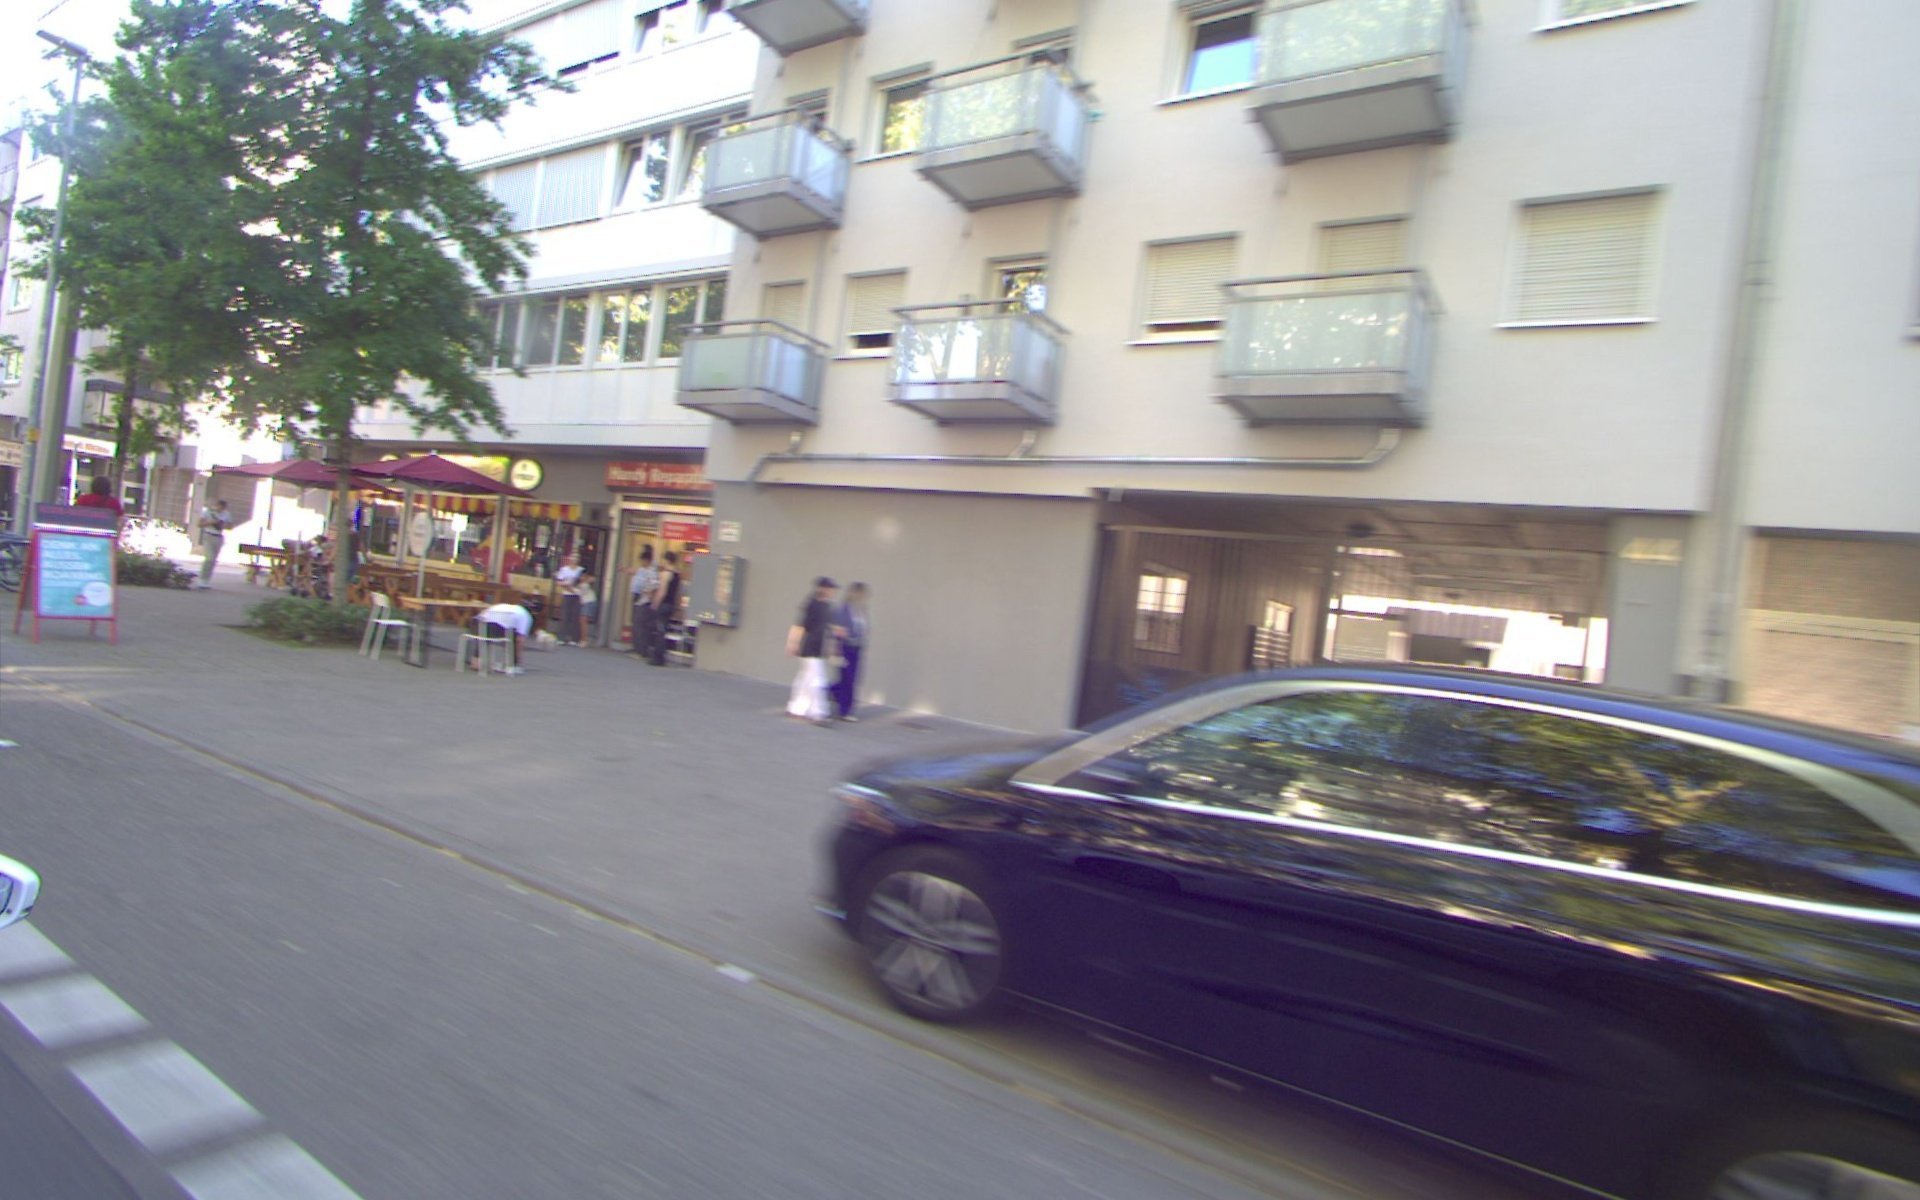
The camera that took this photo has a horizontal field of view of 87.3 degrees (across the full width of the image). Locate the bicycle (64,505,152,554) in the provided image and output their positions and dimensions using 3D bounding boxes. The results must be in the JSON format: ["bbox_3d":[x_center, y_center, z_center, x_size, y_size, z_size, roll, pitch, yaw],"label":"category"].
[{"bbox_3d":[-26.198,-2.140,30.954,0.502,1.222,1.917,8,0,30],"label":"bicycle"}]

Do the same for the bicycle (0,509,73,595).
[{"bbox_3d":[-13.411,-0.719,13.723,0.517,1.113,1.817,7,-1,32],"label":"bicycle"}]

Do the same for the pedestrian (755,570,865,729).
[{"bbox_3d":[-1.695,0.547,11.382,0.855,1.659,0.642,7,2,32],"label":"pedestrian"}]

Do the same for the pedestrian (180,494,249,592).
[{"bbox_3d":[-14.658,-1.122,19.772,0.979,1.805,0.591,7,-1,32],"label":"pedestrian"}]

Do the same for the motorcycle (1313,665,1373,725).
[{"bbox_3d":[7.969,1.982,20.870,0.705,1.089,2.415,7,-2,30],"label":"motorcycle"}]

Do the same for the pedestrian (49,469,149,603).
[{"bbox_3d":[-12.581,-0.921,14.742,0.871,1.779,1.037,8,-1,-37],"label":"pedestrian"}]

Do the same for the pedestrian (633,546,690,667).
[{"bbox_3d":[-4.657,0.109,15.689,0.481,1.817,0.432,7,-1,32],"label":"pedestrian"}]

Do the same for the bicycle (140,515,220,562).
[{"bbox_3d":[-25.624,-2.009,33.094,0.502,1.222,1.918,9,0,30],"label":"bicycle"}]

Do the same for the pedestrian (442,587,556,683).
[{"bbox_3d":[-5.588,0.442,12.251,0.649,1.039,1.002,7,-1,17],"label":"pedestrian"}]

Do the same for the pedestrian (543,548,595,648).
[{"bbox_3d":[-6.794,-0.026,17.494,0.509,1.647,0.507,7,-1,-4],"label":"pedestrian"}]

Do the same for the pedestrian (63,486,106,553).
[{"bbox_3d":[-21.933,-2.024,25.209,0.635,1.580,0.551,6,-2,38],"label":"pedestrian"}]

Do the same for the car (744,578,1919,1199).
[{"bbox_3d":[1.409,0.943,3.729,4.259,1.609,1.758,7,3,33],"label":"car"}]

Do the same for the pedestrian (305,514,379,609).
[{"bbox_3d":[-11.808,-0.726,19.228,0.799,1.678,0.679,7,-1,20],"label":"pedestrian"}]

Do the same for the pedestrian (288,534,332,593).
[{"bbox_3d":[-15.695,-0.876,24.293,0.704,1.302,0.536,7,-1,35],"label":"pedestrian"}]

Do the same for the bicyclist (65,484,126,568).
[{"bbox_3d":[-19.298,-1.660,22.455,0.950,1.737,0.677,7,-1,36],"label":"bicyclist"}]

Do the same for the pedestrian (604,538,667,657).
[{"bbox_3d":[-5.670,-0.043,17.595,0.782,1.977,0.505,7,-1,43],"label":"pedestrian"}]

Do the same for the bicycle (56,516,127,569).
[{"bbox_3d":[-19.458,-1.294,22.530,1.991,0.974,0.677,6,-1,36],"label":"bicycle"}]

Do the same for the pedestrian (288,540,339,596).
[{"bbox_3d":[-13.823,-0.685,21.511,0.513,1.091,0.643,7,-1,32],"label":"pedestrian"}]

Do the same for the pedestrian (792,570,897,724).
[{"bbox_3d":[-1.380,0.548,11.984,0.919,1.700,0.596,7,2,31],"label":"pedestrian"}]

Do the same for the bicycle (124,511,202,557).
[{"bbox_3d":[-26.691,-2.201,33.728,0.502,1.221,1.918,6,-2,30],"label":"bicycle"}]

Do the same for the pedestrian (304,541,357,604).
[{"bbox_3d":[-13.156,-0.569,21.015,0.513,1.189,0.660,7,-1,32],"label":"pedestrian"}]

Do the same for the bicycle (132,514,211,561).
[{"bbox_3d":[-26.143,-2.064,33.393,0.502,1.221,1.919,7,-2,30],"label":"bicycle"}]

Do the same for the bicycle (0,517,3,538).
[{"bbox_3d":[-15.525,-0.892,14.897,0.473,1.005,1.819,7,-2,31],"label":"bicycle"}]

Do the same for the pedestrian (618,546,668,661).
[{"bbox_3d":[-5.272,0.059,16.761,0.518,1.826,0.630,7,-1,-13],"label":"pedestrian"}]

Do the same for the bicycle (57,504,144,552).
[{"bbox_3d":[-26.644,-2.215,31.213,0.502,1.222,1.917,8,0,30],"label":"bicycle"}]

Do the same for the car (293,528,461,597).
[{"bbox_3d":[-18.880,-1.177,32.772,1.933,1.610,4.260,6,-2,27],"label":"car"}]

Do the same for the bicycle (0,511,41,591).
[{"bbox_3d":[-14.314,-0.792,14.222,0.473,1.113,1.821,7,-2,25],"label":"bicycle"}]

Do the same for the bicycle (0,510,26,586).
[{"bbox_3d":[-14.763,-0.864,14.451,0.489,1.113,1.821,7,-2,25],"label":"bicycle"}]

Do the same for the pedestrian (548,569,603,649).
[{"bbox_3d":[-6.686,0.167,17.508,0.615,1.291,0.509,7,-1,-4],"label":"pedestrian"}]
